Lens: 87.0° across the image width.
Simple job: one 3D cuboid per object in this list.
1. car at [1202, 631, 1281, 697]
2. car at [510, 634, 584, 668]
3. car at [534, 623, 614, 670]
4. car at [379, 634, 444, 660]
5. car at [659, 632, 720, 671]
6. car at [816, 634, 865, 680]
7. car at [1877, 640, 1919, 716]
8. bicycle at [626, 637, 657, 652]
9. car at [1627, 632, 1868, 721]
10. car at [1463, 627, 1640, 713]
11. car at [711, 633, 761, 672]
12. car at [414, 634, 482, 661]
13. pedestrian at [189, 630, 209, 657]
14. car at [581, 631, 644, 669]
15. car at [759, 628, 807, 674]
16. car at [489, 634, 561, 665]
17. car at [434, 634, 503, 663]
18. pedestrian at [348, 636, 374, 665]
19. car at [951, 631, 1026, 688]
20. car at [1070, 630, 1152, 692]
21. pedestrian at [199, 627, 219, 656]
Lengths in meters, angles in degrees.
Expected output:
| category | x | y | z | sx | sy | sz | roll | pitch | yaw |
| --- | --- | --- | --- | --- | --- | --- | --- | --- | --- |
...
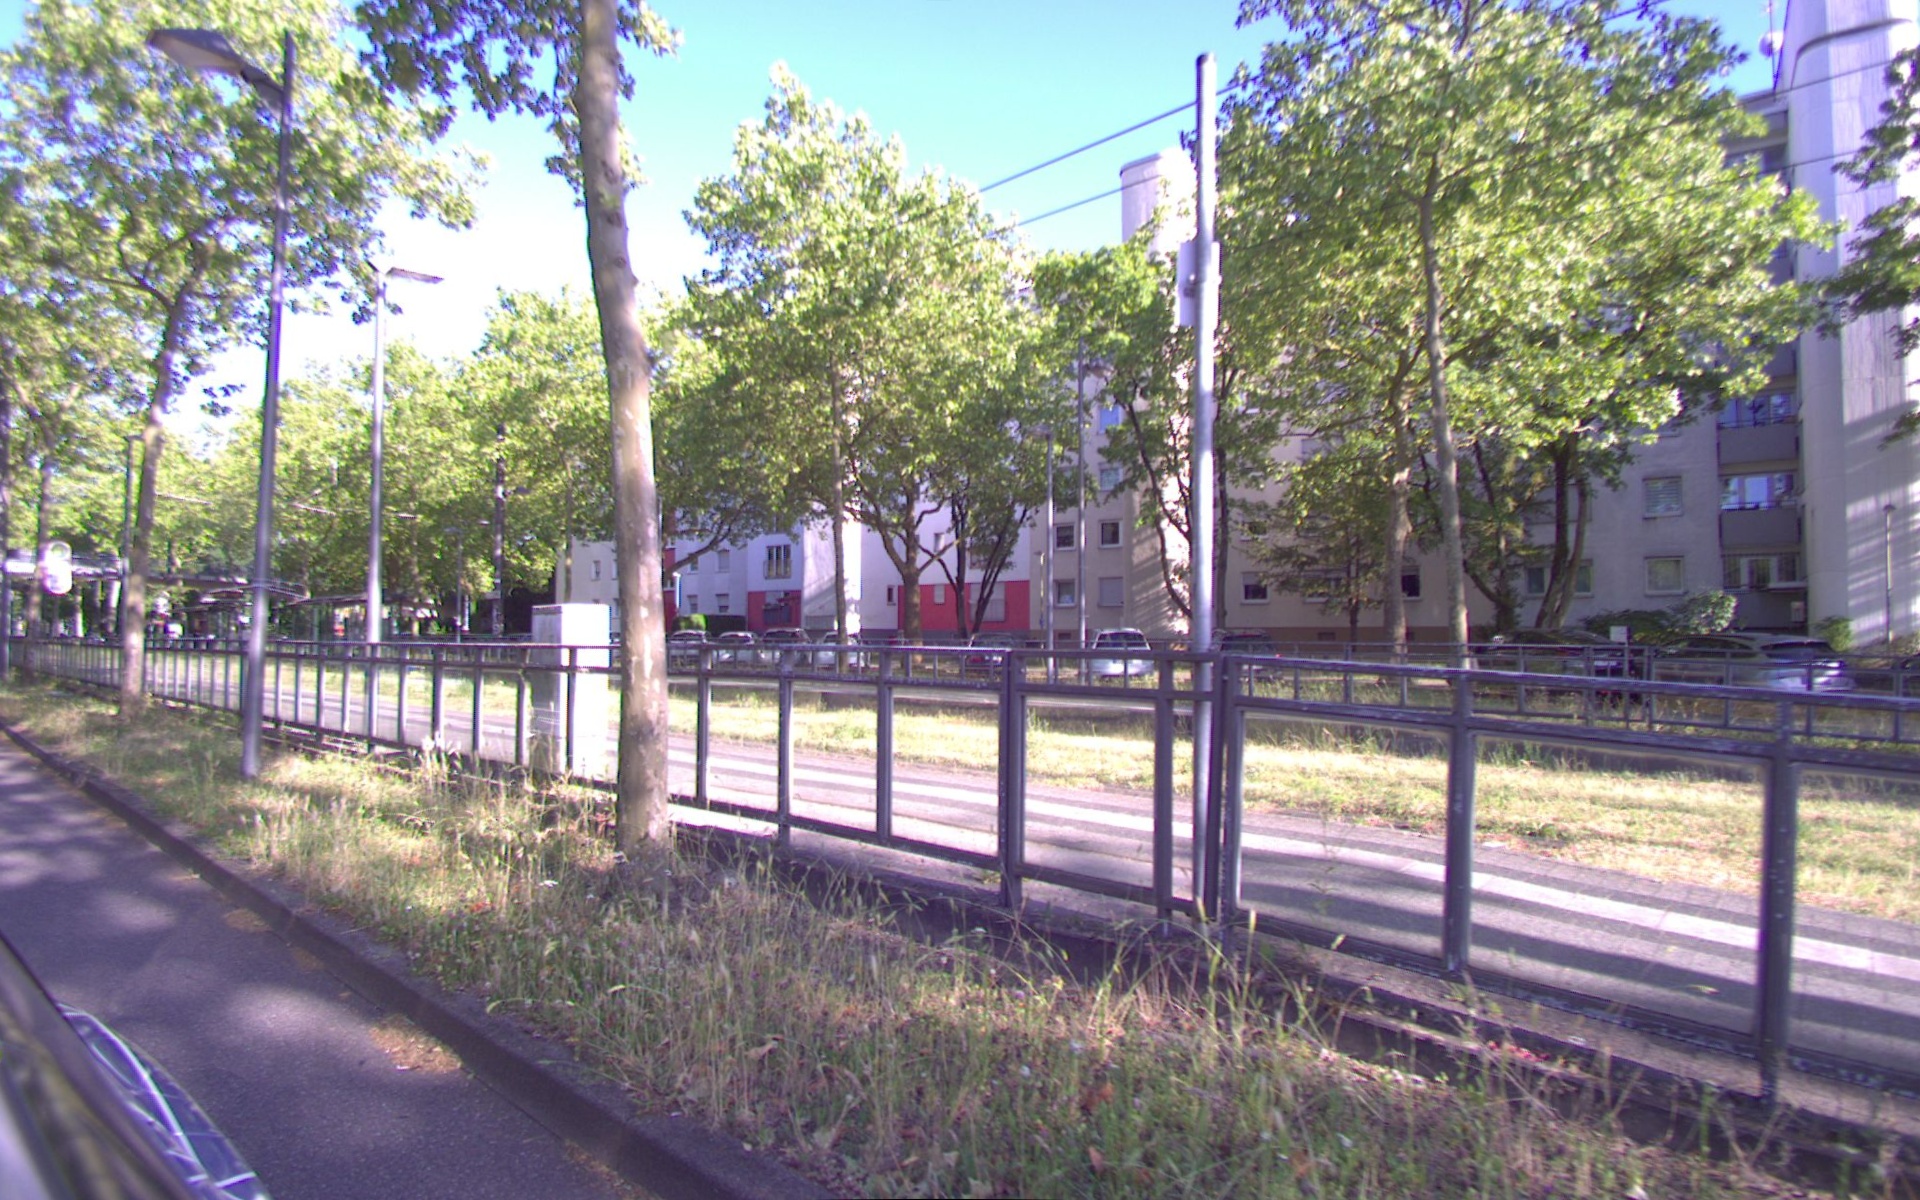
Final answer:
| category | x | y | z | sx | sy | sz | roll | pitch | yaw |
| --- | --- | --- | --- | --- | --- | --- | --- | --- | --- |
| car | 7.021 | 1.560 | 25.450 | 1.448 | 1.520 | 3.375 | -1 | -2 | 8 |
| car | -20.664 | 2.522 | 50.830 | 1.873 | 1.509 | 4.500 | -2 | -1 | -1 |
| car | -18.364 | 2.160 | 48.371 | 1.875 | 2.079 | 4.496 | -2 | -1 | 3 |
| car | -34.608 | 2.938 | 63.957 | 1.677 | 1.439 | 4.196 | -2 | -1 | 3 |
| car | -11.302 | 2.133 | 42.548 | 1.870 | 1.515 | 4.507 | -1 | -2 | -7 |
| car | -4.211 | 1.946 | 35.535 | 1.551 | 1.485 | 4.066 | -1 | -2 | -7 |
| car | 16.911 | 1.311 | 16.164 | 1.445 | 1.263 | 3.382 | -1 | -1 | 1 |
| bicycle | -21.398 | 2.981 | 67.946 | 2.592 | 0.935 | 0.688 | -3 | -2 | 38 |
| car | 14.214 | 1.321 | 18.511 | 1.516 | 1.437 | 3.388 | 0 | -1 | -5 |
| car | 11.781 | 1.354 | 20.385 | 1.442 | 1.559 | 3.142 | -1 | -2 | -6 |
| car | -8.927 | 2.078 | 40.581 | 1.551 | 1.443 | 4.066 | -1 | -2 | -7 |
| car | -29.813 | 2.754 | 59.056 | 1.677 | 1.439 | 4.196 | -2 | -1 | 3 |
| pedestrian | -44.093 | 2.511 | 58.632 | 0.681 | 1.525 | 0.638 | -1 | -4 | 29 |
| car | -15.949 | 2.286 | 46.694 | 1.665 | 1.623 | 4.062 | -1 | -2 | -3 |
| car | -6.666 | 1.898 | 38.378 | 1.551 | 1.580 | 4.066 | -1 | -2 | -7 |
| car | -22.973 | 2.588 | 53.637 | 1.873 | 1.509 | 4.500 | -2 | -1 | -1 |
| car | -27.711 | 2.706 | 57.223 | 1.677 | 1.439 | 4.196 | -2 | -1 | 3 |
| pedestrian | -24.023 | 2.025 | 40.598 | 0.662 | 1.136 | 0.687 | -2 | -6 | 42 |
| car | 0.789 | 1.750 | 30.690 | 1.620 | 1.556 | 4.182 | -1 | -2 | -7 |
| car | 4.114 | 1.623 | 28.075 | 1.623 | 1.556 | 3.993 | -1 | -2 | 0 |
| pedestrian | -43.500 | 2.395 | 58.623 | 0.715 | 1.647 | 0.722 | -1 | -3 | 39 |
